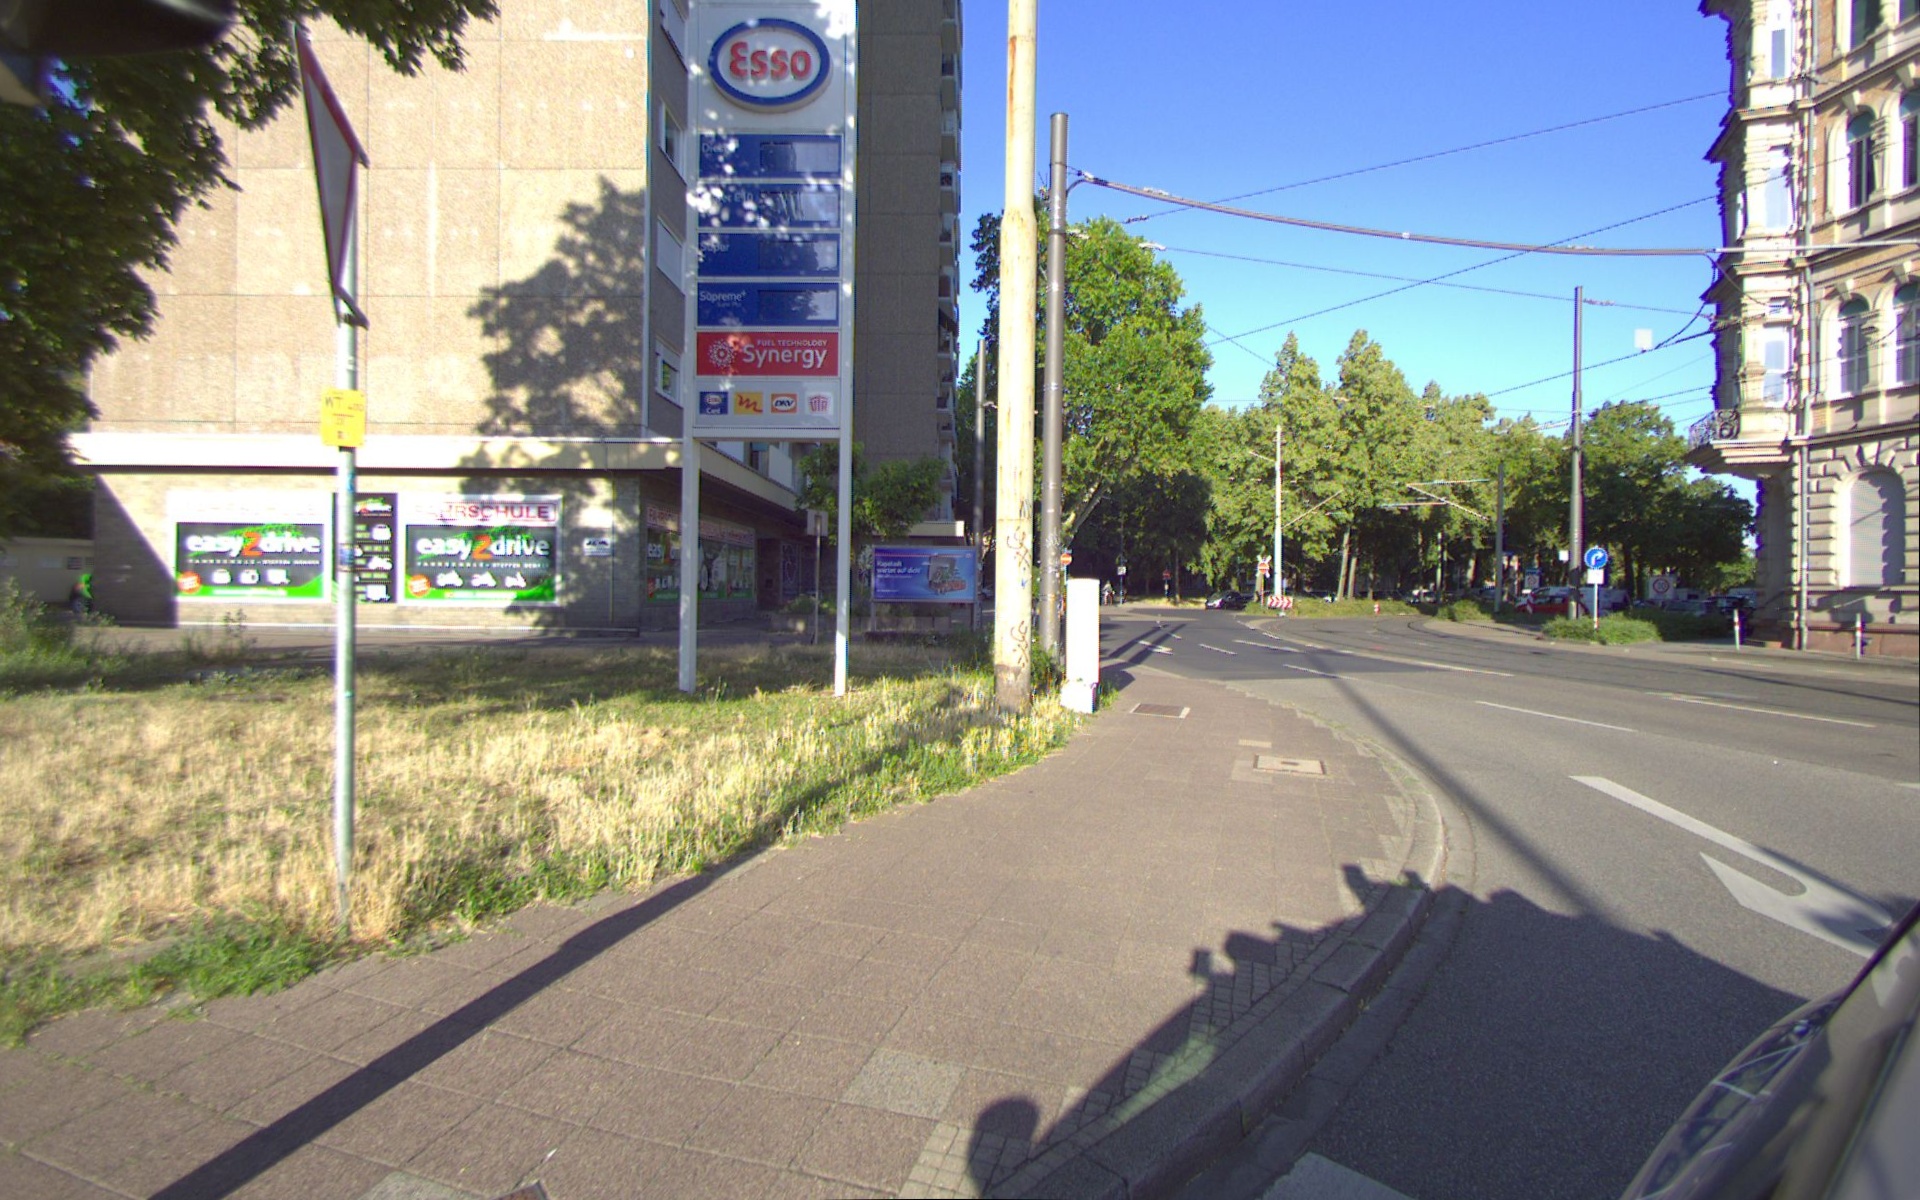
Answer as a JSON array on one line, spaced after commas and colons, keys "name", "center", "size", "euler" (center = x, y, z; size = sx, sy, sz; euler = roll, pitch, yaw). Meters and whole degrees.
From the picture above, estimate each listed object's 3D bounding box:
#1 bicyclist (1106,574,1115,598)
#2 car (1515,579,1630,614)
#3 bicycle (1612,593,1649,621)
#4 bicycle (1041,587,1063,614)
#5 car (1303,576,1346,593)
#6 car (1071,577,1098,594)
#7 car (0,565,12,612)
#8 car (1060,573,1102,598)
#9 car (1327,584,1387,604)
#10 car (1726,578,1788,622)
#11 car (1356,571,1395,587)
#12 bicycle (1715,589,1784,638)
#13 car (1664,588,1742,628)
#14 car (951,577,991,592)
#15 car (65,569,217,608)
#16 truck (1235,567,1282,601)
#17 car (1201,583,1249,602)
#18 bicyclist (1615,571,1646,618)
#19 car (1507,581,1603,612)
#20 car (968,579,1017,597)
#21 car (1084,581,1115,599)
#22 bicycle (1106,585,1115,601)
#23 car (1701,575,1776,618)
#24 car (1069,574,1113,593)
[{"name": "bicyclist", "center": [11.280, -1.069, 75.729], "size": [0.597, 1.785, 1.058], "euler": [1, 1, 10]}, {"name": "car", "center": [33.204, -0.221, 55.049], "size": [1.960, 1.810, 5.066], "euler": [0, 1, -29]}, {"name": "bicycle", "center": [27.236, 0.283, 41.088], "size": [2.079, 1.097, 0.727], "euler": [1, 0, -41]}, {"name": "bicycle", "center": [4.099, -0.004, 45.145], "size": [0.601, 1.149, 2.270], "euler": [1, 1, 14]}, {"name": "car", "center": [40.087, -1.687, 111.396], "size": [1.958, 1.772, 4.452], "euler": [0, 1, -24]}, {"name": "car", "center": [11.292, -1.334, 92.063], "size": [1.504, 1.466, 3.932], "euler": [1, 1, -7]}, {"name": "car", "center": [-31.954, -0.377, 31.088], "size": [4.178, 1.438, 1.750], "euler": [1, 1, 3]}, {"name": "car", "center": [11.890, -1.447, 99.482], "size": [3.846, 2.436, 1.538], "euler": [1, 1, -9]}, {"name": "car", "center": [28.361, -0.466, 72.377], "size": [1.707, 1.370, 3.690], "euler": [0, 1, -34]}, {"name": "car", "center": [39.051, -0.044, 49.532], "size": [1.993, 2.039, 4.563], "euler": [1, 1, 43]}, {"name": "car", "center": [49.383, -2.502, 120.422], "size": [1.848, 1.772, 4.004], "euler": [0, 1, -31]}, {"name": "bicycle", "center": [21.412, 0.347, 27.432], "size": [2.636, 1.282, 0.645], "euler": [0, 1, -33]}, {"name": "car", "center": [28.366, 0.278, 38.632], "size": [3.375, 1.432, 1.735], "euler": [0, 1, -42]}, {"name": "car", "center": [1.115, -1.597, 104.234], "size": [3.918, 1.527, 1.889], "euler": [1, 1, -8]}, {"name": "car", "center": [-29.507, -0.416, 36.540], "size": [4.178, 1.312, 1.750], "euler": [1, 1, 3]}, {"name": "truck", "center": [25.003, -1.340, 84.616], "size": [1.991, 2.818, 4.814], "euler": [1, 1, 40]}, {"name": "car", "center": [21.175, -0.601, 80.748], "size": [3.933, 1.415, 1.947], "euler": [0, 1, -43]}, {"name": "bicyclist", "center": [27.265, -0.229, 41.122], "size": [1.191, 1.864, 0.729], "euler": [1, 0, -40]}, {"name": "car", "center": [31.472, -0.205, 53.647], "size": [1.831, 1.526, 4.005], "euler": [0, 1, -29]}, {"name": "car", "center": [2.770, -1.030, 87.096], "size": [3.918, 1.527, 1.889], "euler": [1, 1, -8]}, {"name": "car", "center": [11.913, -0.884, 86.472], "size": [1.706, 1.466, 3.636], "euler": [1, 1, -7]}, {"name": "bicycle", "center": [11.284, -0.552, 75.774], "size": [0.601, 1.190, 1.947], "euler": [1, 1, 9]}, {"name": "car", "center": [31.906, -0.169, 41.444], "size": [3.931, 1.683, 1.735], "euler": [0, 1, -42]}, {"name": "car", "center": [12.561, -1.563, 96.998], "size": [3.846, 1.783, 1.538], "euler": [1, 1, -9]}]
